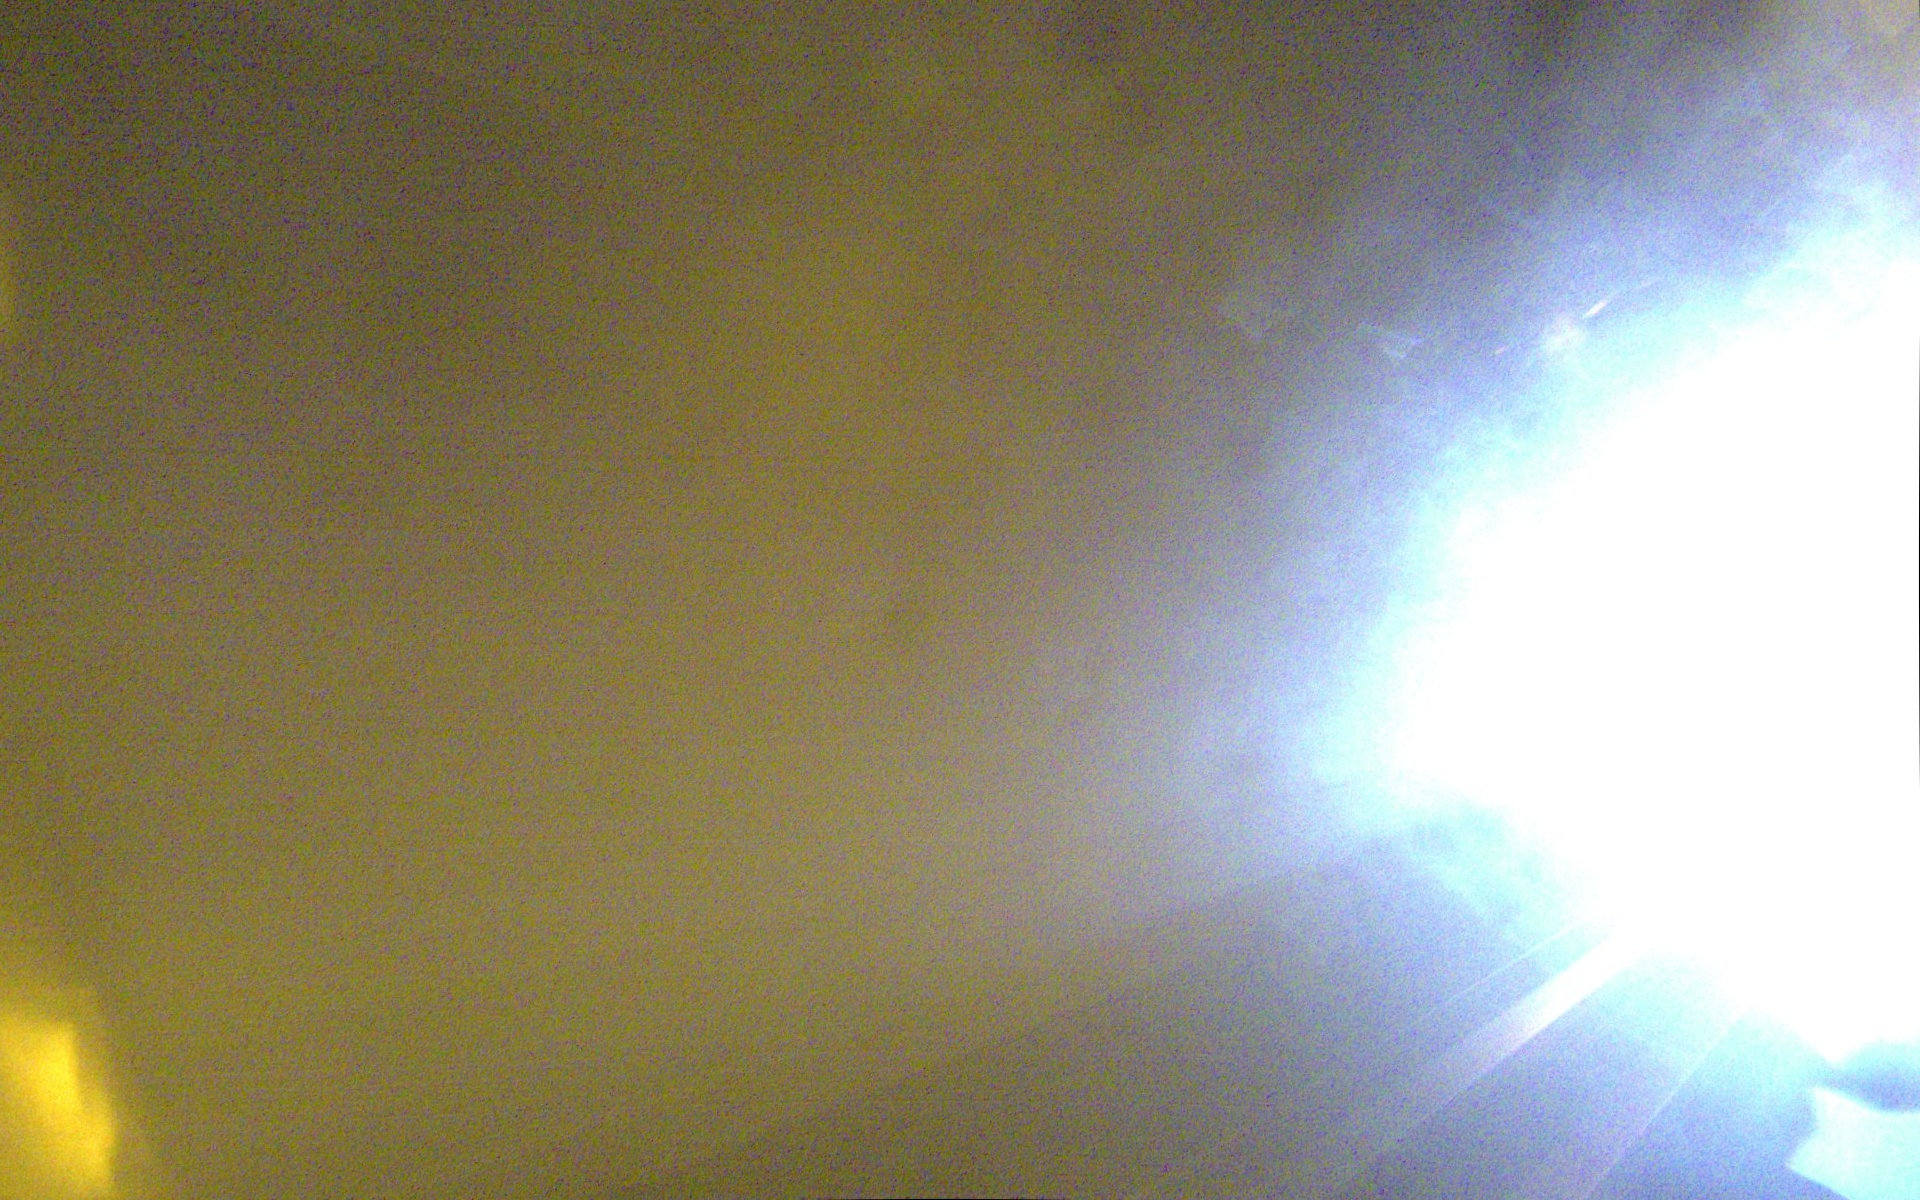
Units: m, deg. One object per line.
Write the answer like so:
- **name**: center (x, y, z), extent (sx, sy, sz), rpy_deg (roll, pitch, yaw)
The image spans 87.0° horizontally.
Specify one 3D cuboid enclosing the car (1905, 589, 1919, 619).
- **car**: center (66.924, 0.238, 70.033), extent (1.891, 2.039, 3.944), rpy_deg (1, 1, 39)
